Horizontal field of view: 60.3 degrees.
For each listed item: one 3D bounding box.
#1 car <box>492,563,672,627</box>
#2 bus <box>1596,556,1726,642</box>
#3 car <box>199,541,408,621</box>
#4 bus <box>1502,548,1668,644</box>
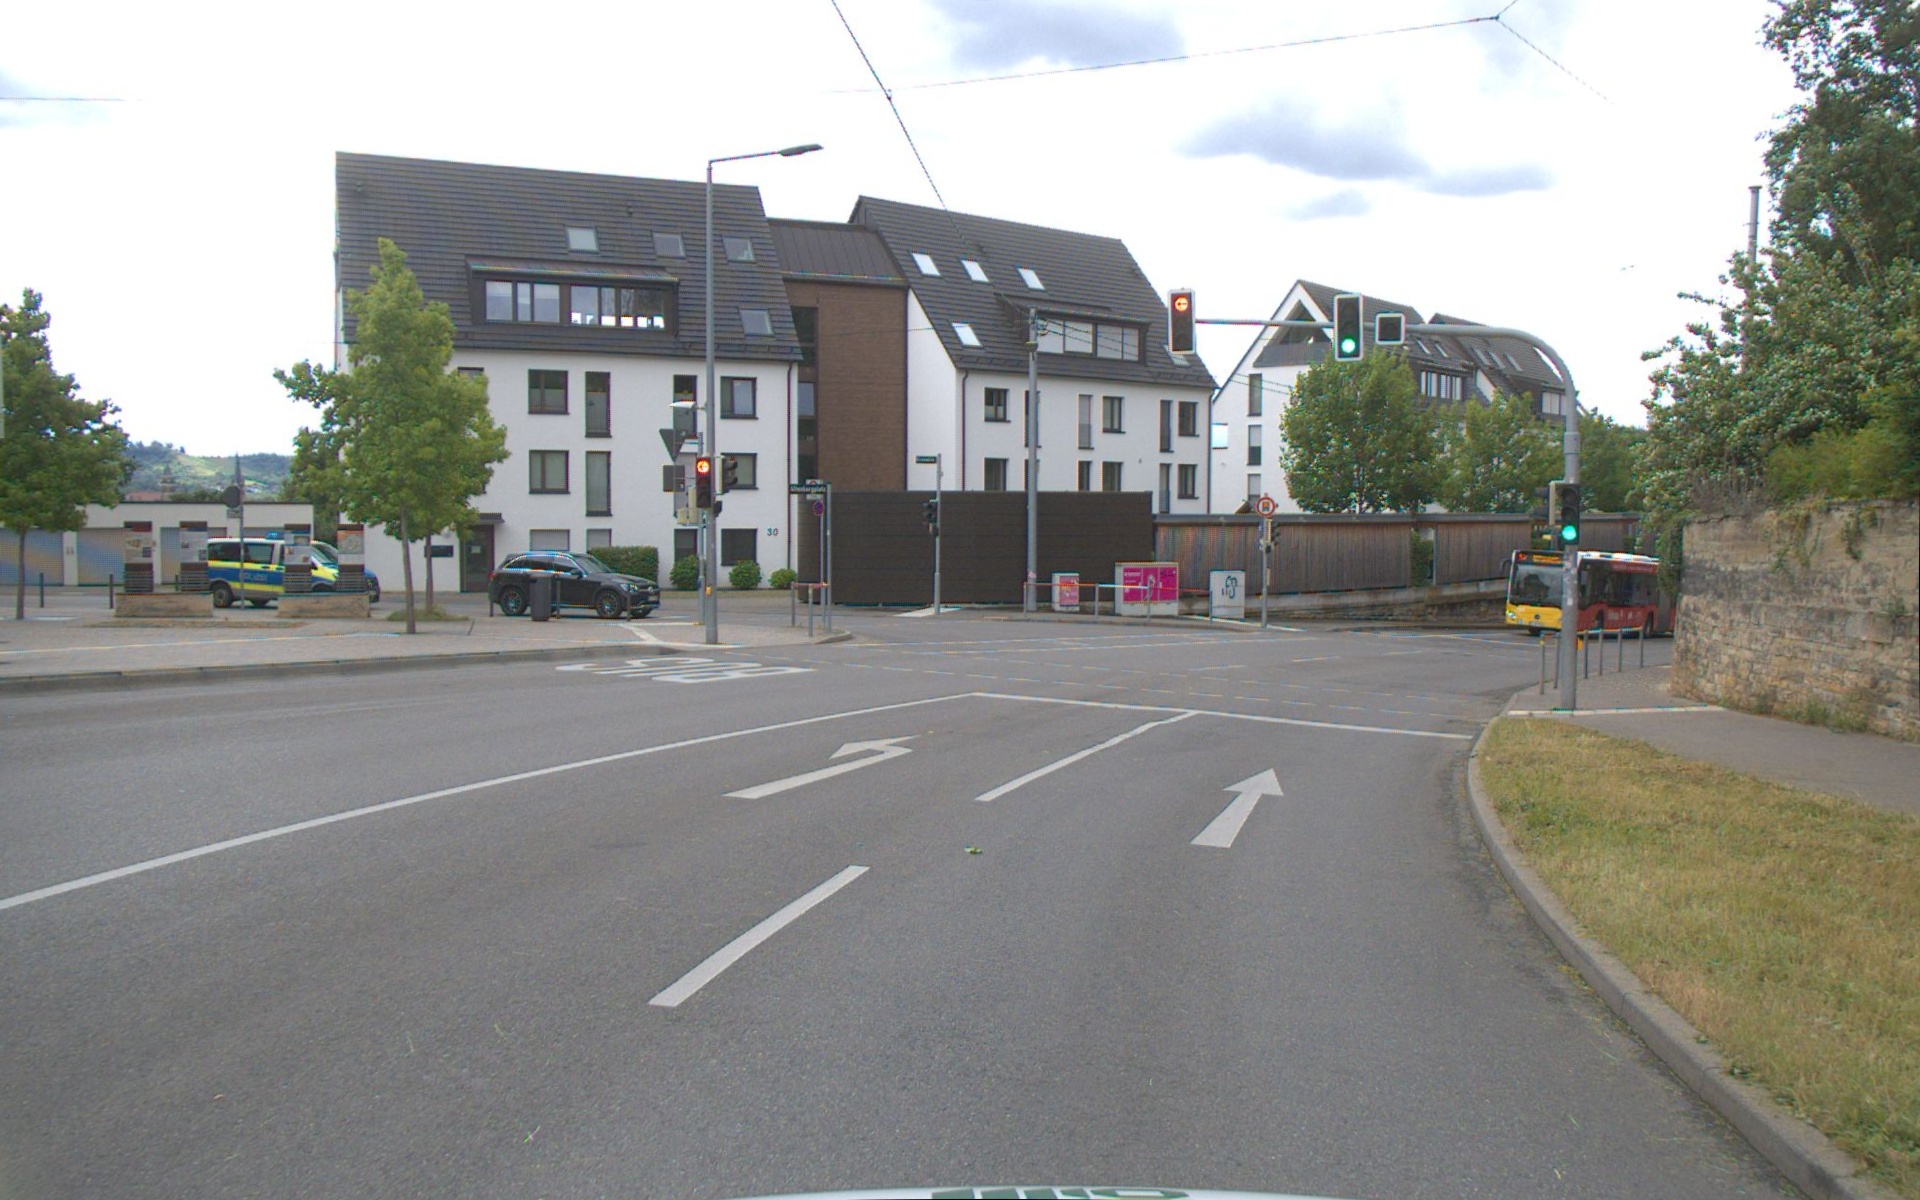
[{"bbox_3d":[-9.933,-0.139,43.548,4.170,1.539,2.001,2,0,17],"label":"car"},{"bbox_3d":[29.059,-0.012,68.323,2.617,3.175,8.251,5,2,39],"label":"bus"},{"bbox_3d":[-18.076,-0.518,45.614,4.966,2.049,2.002,1,0,8],"label":"car"},{"bbox_3d":[23.302,-0.114,61.259,2.617,3.175,9.968,5,2,39],"label":"bus"}]
